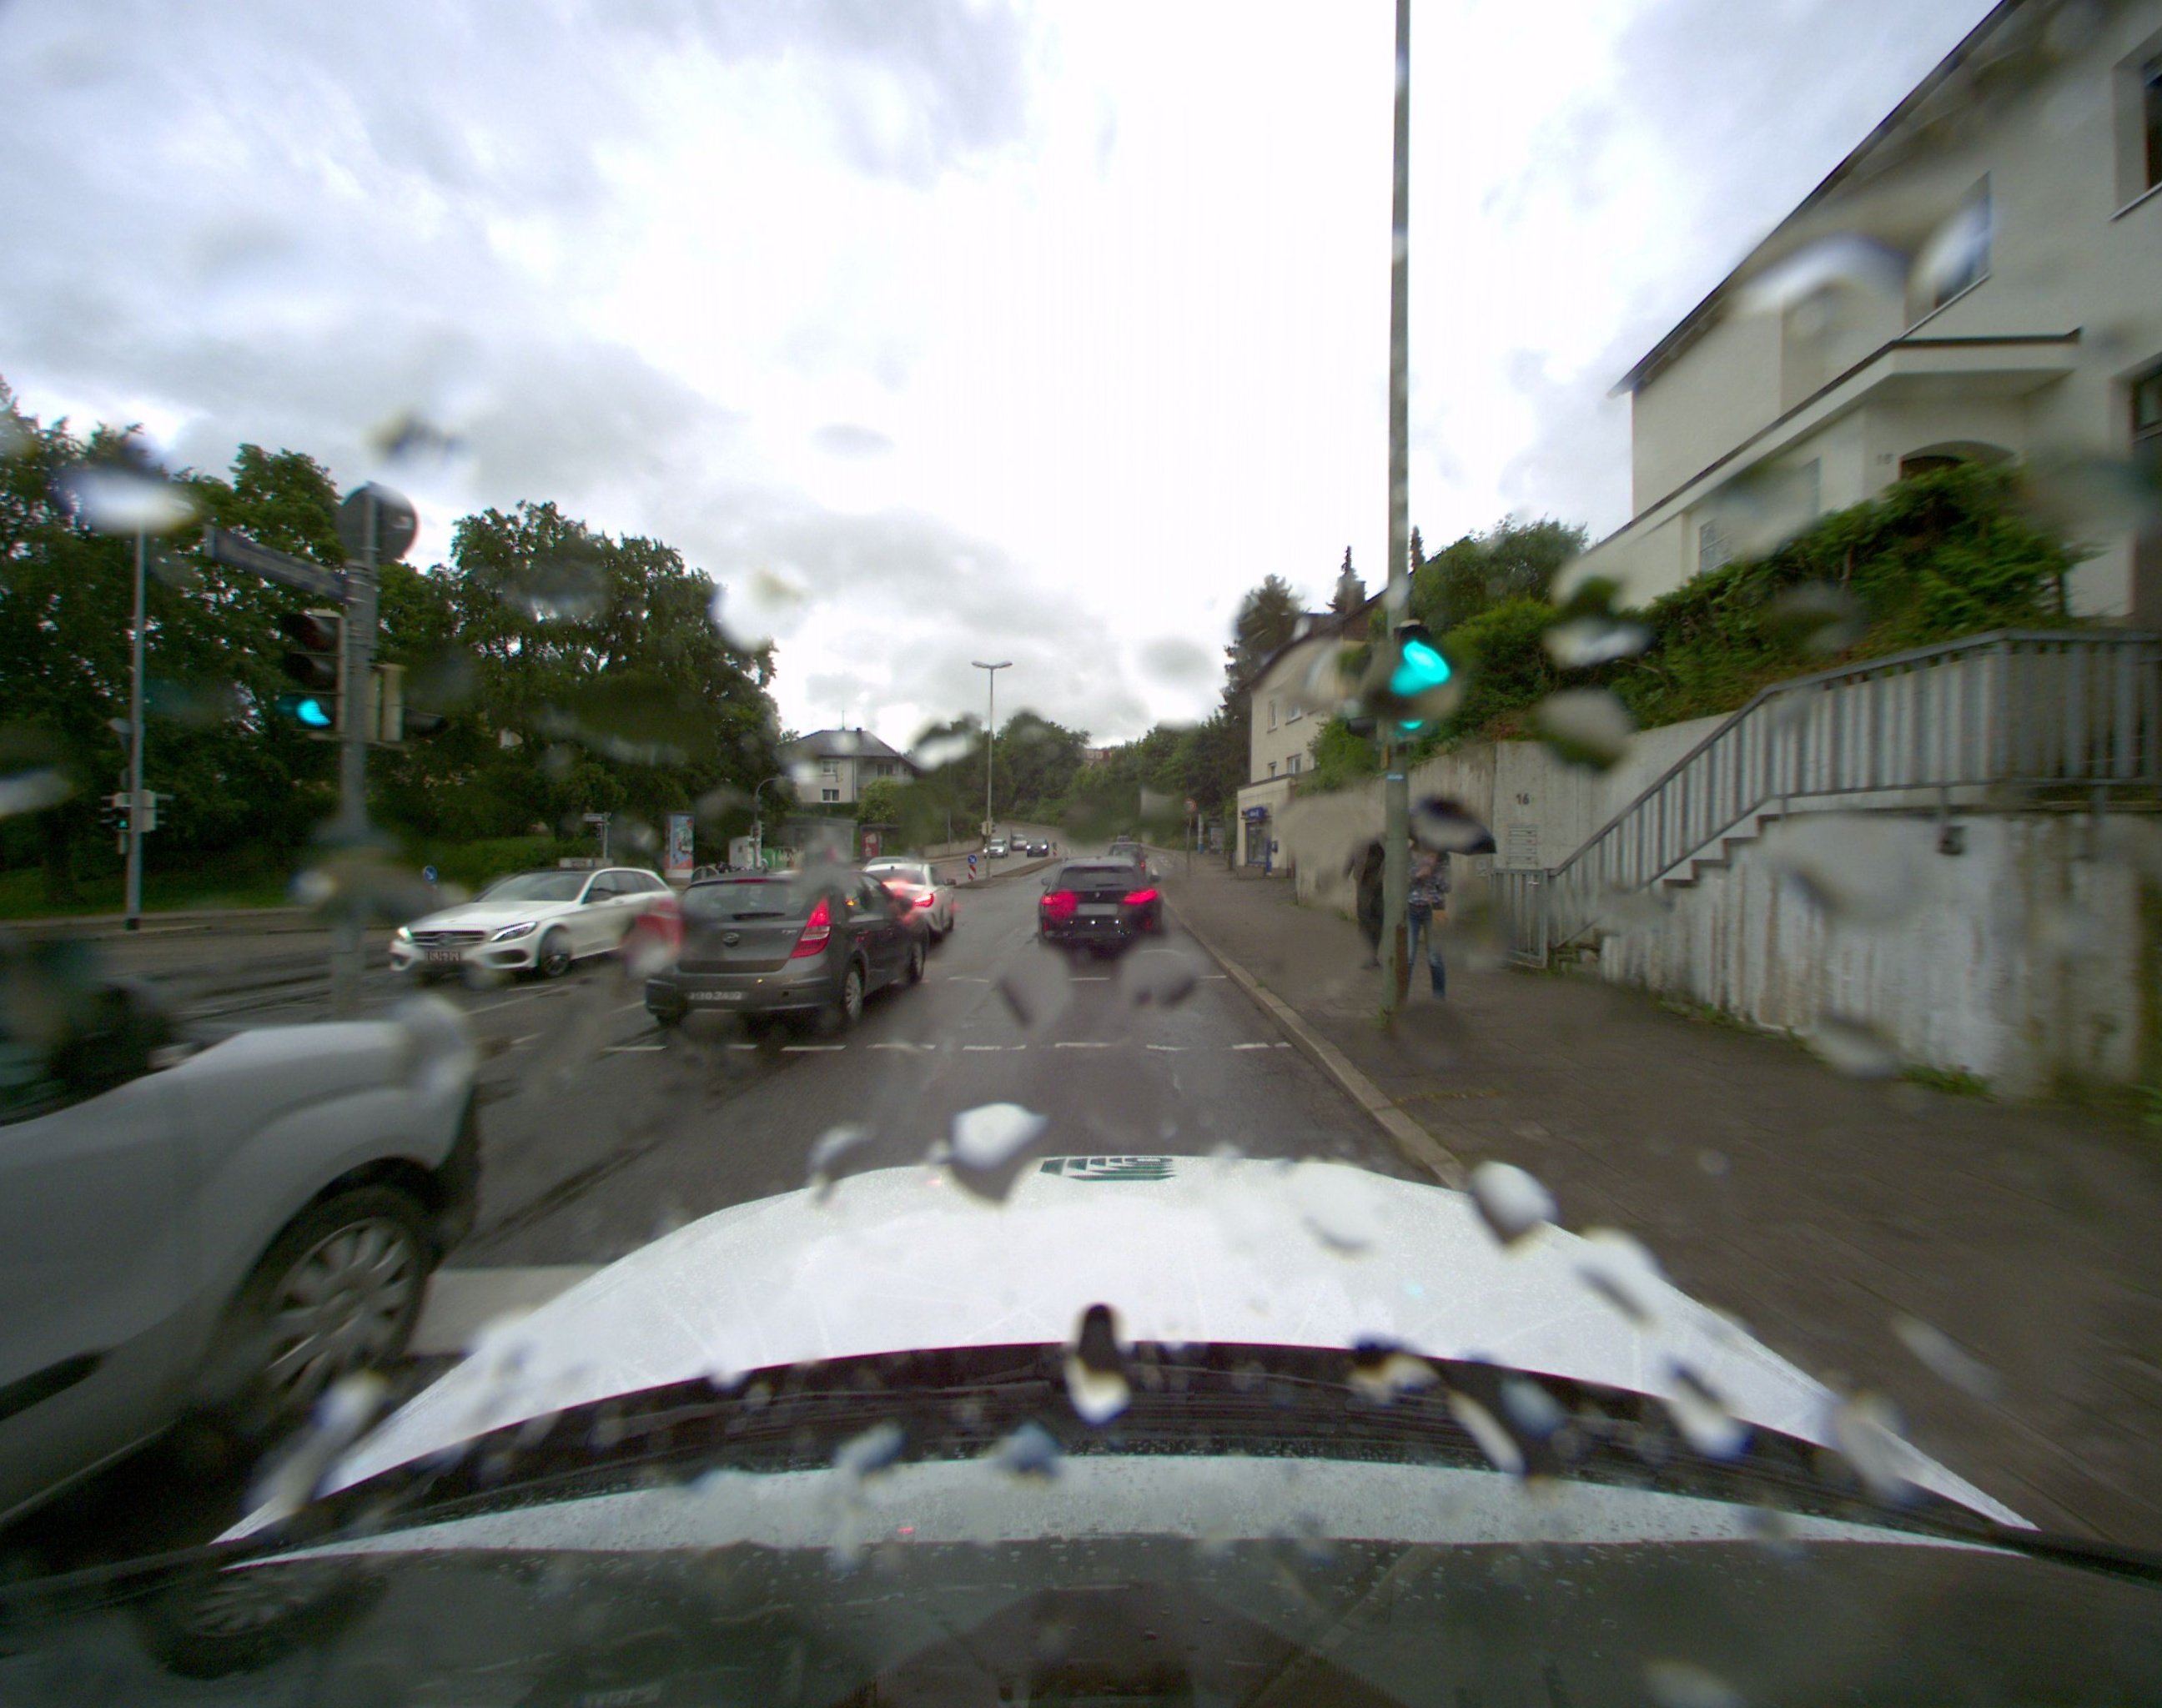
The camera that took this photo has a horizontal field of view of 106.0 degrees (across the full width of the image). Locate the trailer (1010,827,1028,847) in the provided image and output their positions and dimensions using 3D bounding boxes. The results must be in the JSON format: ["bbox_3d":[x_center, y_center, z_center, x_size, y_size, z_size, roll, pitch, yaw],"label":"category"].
[{"bbox_3d":[-7.105,-1.906,93.154,1.894,2.179,4.026,-1,1,-7],"label":"trailer"}]

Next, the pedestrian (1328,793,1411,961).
[{"bbox_3d":[3.587,0.276,10.182,0.794,2.014,0.734,0,0,1],"label":"pedestrian"}]

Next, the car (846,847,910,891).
[{"bbox_3d":[-7.962,0.570,32.342,1.992,1.574,3.989,-1,0,-8],"label":"car"}]

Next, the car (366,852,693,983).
[{"bbox_3d":[-7.880,0.797,12.348,1.831,1.556,4.765,-1,0,-2],"label":"car"}]

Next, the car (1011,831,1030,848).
[{"bbox_3d":[-6.636,-1.590,88.873,1.897,1.682,4.471,-1,2,-6],"label":"car"}]

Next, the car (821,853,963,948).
[{"bbox_3d":[-3.439,0.766,15.725,1.904,1.528,4.645,-1,0,-4],"label":"car"}]

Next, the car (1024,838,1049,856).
[{"bbox_3d":[-4.062,-0.662,74.353,1.834,1.552,4.386,-1,0,2],"label":"car"}]

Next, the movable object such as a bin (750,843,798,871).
[{"bbox_3d":[-17.966,0.172,47.728,2.047,1.568,1.585,-1,2,6],"label":"movable object such as a bin"}]

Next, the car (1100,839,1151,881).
[{"bbox_3d":[1.948,0.250,36.722,1.987,1.748,3.999,-1,0,-1],"label":"car"}]

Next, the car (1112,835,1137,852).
[{"bbox_3d":[4.327,-1.098,81.824,1.849,1.661,3.991,0,1,-7],"label":"car"}]

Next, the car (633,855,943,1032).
[{"bbox_3d":[-2.845,0.764,8.971,1.828,1.487,4.060,-1,0,1],"label":"car"}]

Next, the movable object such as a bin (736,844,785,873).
[{"bbox_3d":[-18.129,0.248,46.136,2.047,1.568,1.585,-1,2,6],"label":"movable object such as a bin"}]

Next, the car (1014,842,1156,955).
[{"bbox_3d":[0.069,0.677,13.816,1.987,1.586,4.662,0,-1,0],"label":"car"}]

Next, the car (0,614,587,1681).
[{"bbox_3d":[-2.865,0.529,0.766,1.946,1.871,4.744,-1,0,-1],"label":"car"}]

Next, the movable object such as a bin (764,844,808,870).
[{"bbox_3d":[-17.793,0.186,49.190,2.047,1.514,1.347,-1,2,6],"label":"movable object such as a bin"}]

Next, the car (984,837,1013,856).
[{"bbox_3d":[-7.414,-0.660,73.288,1.815,1.657,4.472,-1,0,4],"label":"car"}]

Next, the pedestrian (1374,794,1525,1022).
[{"bbox_3d":[3.090,0.426,6.935,0.791,1.780,1.012,-2,0,1],"label":"pedestrian"}]
